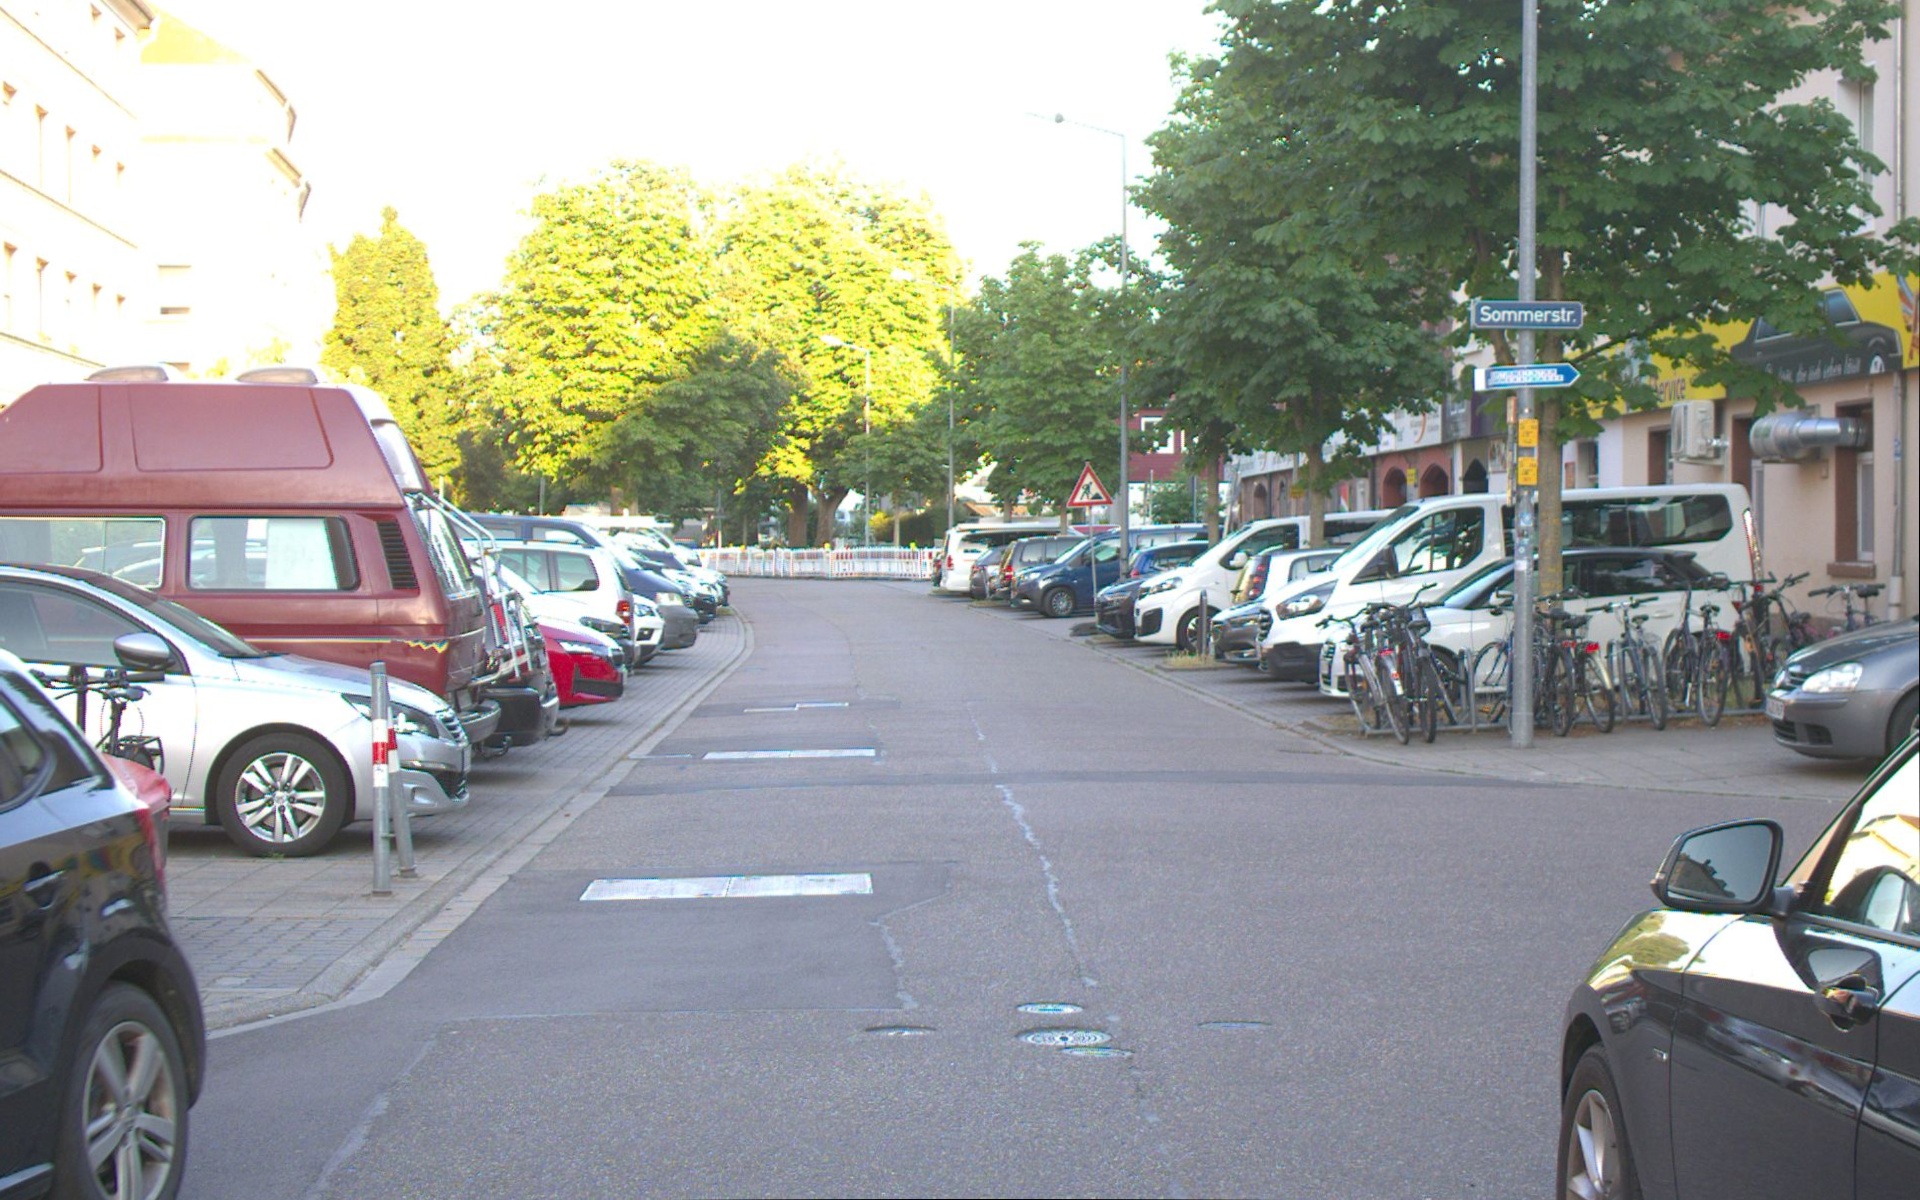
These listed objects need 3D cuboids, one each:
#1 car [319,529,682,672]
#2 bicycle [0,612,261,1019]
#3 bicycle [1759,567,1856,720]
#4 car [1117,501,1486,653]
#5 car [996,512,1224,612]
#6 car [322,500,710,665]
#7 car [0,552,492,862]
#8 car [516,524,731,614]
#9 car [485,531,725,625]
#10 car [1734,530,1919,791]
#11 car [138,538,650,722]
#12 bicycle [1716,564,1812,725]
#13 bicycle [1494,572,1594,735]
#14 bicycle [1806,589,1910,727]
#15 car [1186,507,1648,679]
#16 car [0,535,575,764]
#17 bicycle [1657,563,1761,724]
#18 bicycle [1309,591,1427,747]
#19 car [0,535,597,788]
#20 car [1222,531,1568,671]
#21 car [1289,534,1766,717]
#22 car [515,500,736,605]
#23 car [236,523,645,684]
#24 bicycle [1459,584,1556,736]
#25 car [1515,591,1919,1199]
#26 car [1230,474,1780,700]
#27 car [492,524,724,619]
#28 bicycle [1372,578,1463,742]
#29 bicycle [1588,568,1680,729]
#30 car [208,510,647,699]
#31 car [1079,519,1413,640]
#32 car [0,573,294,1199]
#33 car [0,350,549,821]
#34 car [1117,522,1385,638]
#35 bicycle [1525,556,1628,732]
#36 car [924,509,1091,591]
[{"bbox_3d":[-5.650,-0.013,42.662,4.256,1.646,1.888,1,1,-1],"label":"car"},{"bbox_3d":[-3.228,0.693,12.393,0.807,1.217,2.865,1,1,0],"label":"bicycle"},{"bbox_3d":[6.620,0.326,26.890,0.353,1.139,1.481,-1,1,-1],"label":"bicycle"},{"bbox_3d":[4.831,-0.343,49.150,4.943,1.951,2.049,-2,1,-3],"label":"car"},{"bbox_3d":[3.104,-0.799,71.624,4.478,1.905,1.688,-2,1,-6],"label":"car"},{"bbox_3d":[-5.784,-0.244,45.212,4.850,2.014,1.907,1,1,-1],"label":"car"},{"bbox_3d":[-4.800,0.494,17.670,4.615,1.455,1.881,1,1,-4],"label":"car"},{"bbox_3d":[-6.928,-0.645,71.067,4.256,1.743,2.000,1,1,-1],"label":"car"},{"bbox_3d":[-6.523,-0.419,63.560,4.256,1.616,2.000,1,1,-2],"label":"car"},{"bbox_3d":[7.139,0.314,21.785,4.050,1.509,1.756,-1,3,0],"label":"car"},{"bbox_3d":[-4.942,0.242,30.423,4.209,1.484,1.850,1,1,0],"label":"car"},{"bbox_3d":[6.260,0.327,26.804,0.353,1.196,1.481,-1,1,-1],"label":"bicycle"},{"bbox_3d":[4.567,0.398,26.976,0.386,1.196,2.017,-1,1,-1],"label":"bicycle"},{"bbox_3d":[7.026,0.442,26.942,0.387,1.013,1.481,-1,1,-1],"label":"bicycle"},{"bbox_3d":[5.152,-0.100,39.247,4.944,1.736,2.049,-2,1,0],"label":"car"},{"bbox_3d":[-5.110,0.329,25.379,4.210,1.533,1.842,1,1,5],"label":"car"},{"bbox_3d":[5.831,0.326,26.809,0.445,1.196,1.481,-1,1,-1],"label":"bicycle"},{"bbox_3d":[3.159,0.515,26.757,0.438,1.126,2.018,-1,1,-7],"label":"bicycle"},{"bbox_3d":[-4.586,0.376,22.819,4.208,1.533,1.791,1,1,-3],"label":"car"},{"bbox_3d":[5.247,-0.003,41.883,3.911,1.521,1.939,-2,1,0],"label":"car"},{"bbox_3d":[5.087,0.205,31.118,3.918,1.446,1.768,-2,1,-3],"label":"car"},{"bbox_3d":[-7.135,-1.018,73.696,4.533,2.127,2.000,1,1,-1],"label":"car"},{"bbox_3d":[-5.727,0.017,38.305,4.256,1.654,2.000,1,1,-1],"label":"car"},{"bbox_3d":[4.282,0.447,26.987,0.386,1.110,2.017,-1,1,-1],"label":"bicycle"},{"bbox_3d":[2.013,0.751,4.626,1.721,1.419,4.254,1,1,-1],"label":"car"},{"bbox_3d":[5.290,-0.148,33.902,4.989,1.976,2.220,-2,1,0],"label":"car"},{"bbox_3d":[-6.757,-0.558,66.297,4.256,1.709,2.000,1,1,-1],"label":"car"},{"bbox_3d":[3.572,0.448,26.947,0.386,1.196,2.017,-1,1,-1],"label":"bicycle"},{"bbox_3d":[5.252,0.358,26.836,0.386,1.196,1.481,-1,1,-1],"label":"bicycle"},{"bbox_3d":[-5.484,0.027,35.835,4.256,1.830,2.000,1,1,-1],"label":"car"},{"bbox_3d":[4.452,-0.338,54.002,4.943,1.683,2.077,-2,1,-3],"label":"car"},{"bbox_3d":[-2.867,0.758,6.222,1.653,1.450,3.939,-3,1,15],"label":"car"},{"bbox_3d":[-4.825,-0.117,20.238,4.511,2.575,2.000,1,1,0],"label":"car"},{"bbox_3d":[4.962,-0.354,58.915,4.316,1.798,1.811,-2,1,-3],"label":"car"},{"bbox_3d":[4.828,0.320,26.987,0.386,1.300,2.017,-1,1,-1],"label":"bicycle"},{"bbox_3d":[1.184,-1.272,87.033,3.967,1.905,2.050,-2,1,-6],"label":"car"}]
